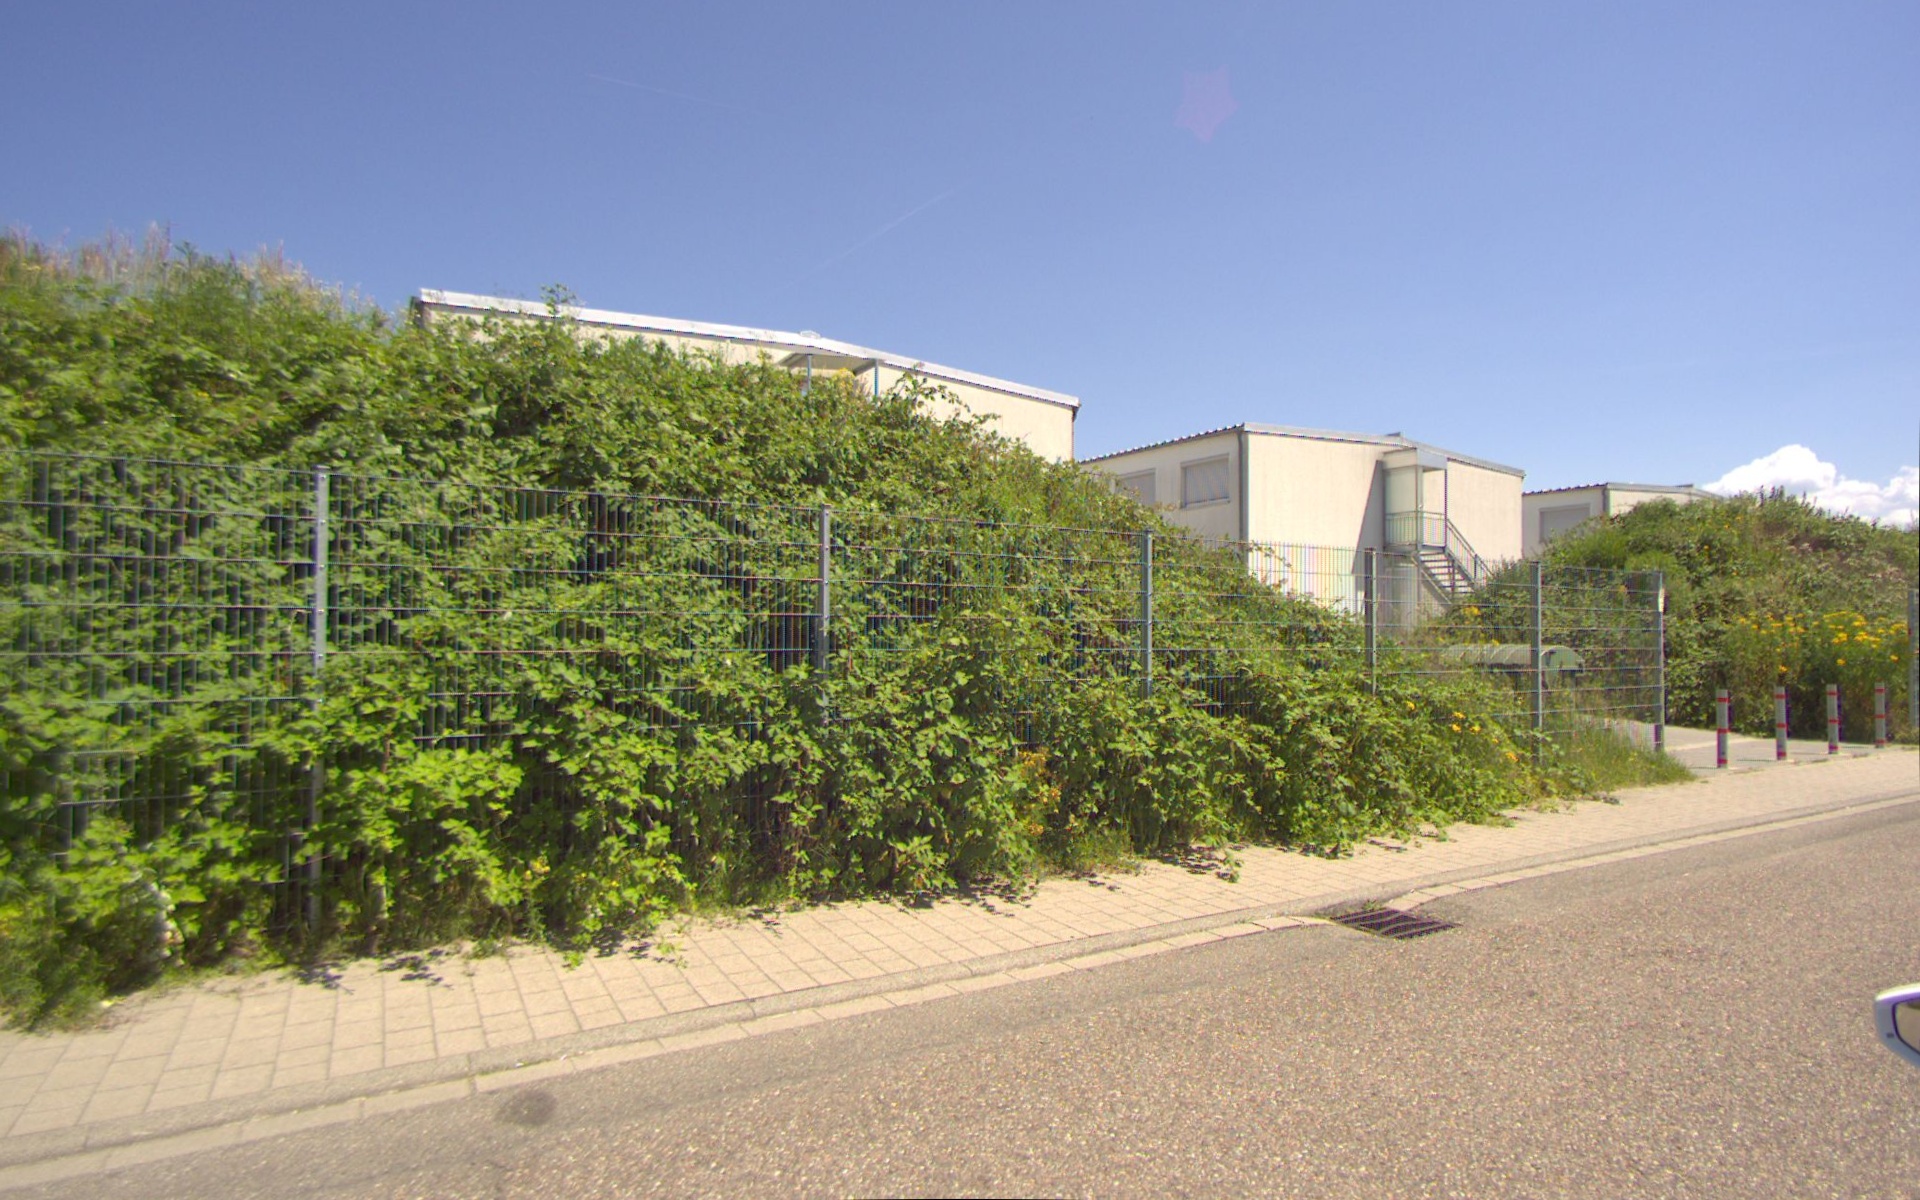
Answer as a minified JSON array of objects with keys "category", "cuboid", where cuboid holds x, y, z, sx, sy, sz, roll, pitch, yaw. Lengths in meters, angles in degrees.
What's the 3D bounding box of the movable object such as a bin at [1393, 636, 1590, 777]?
[{"category":"movable object such as a bin","cuboid":[6.247,1.190,11.827,1.817,1.496,1.297,2,-2,-30]}]
